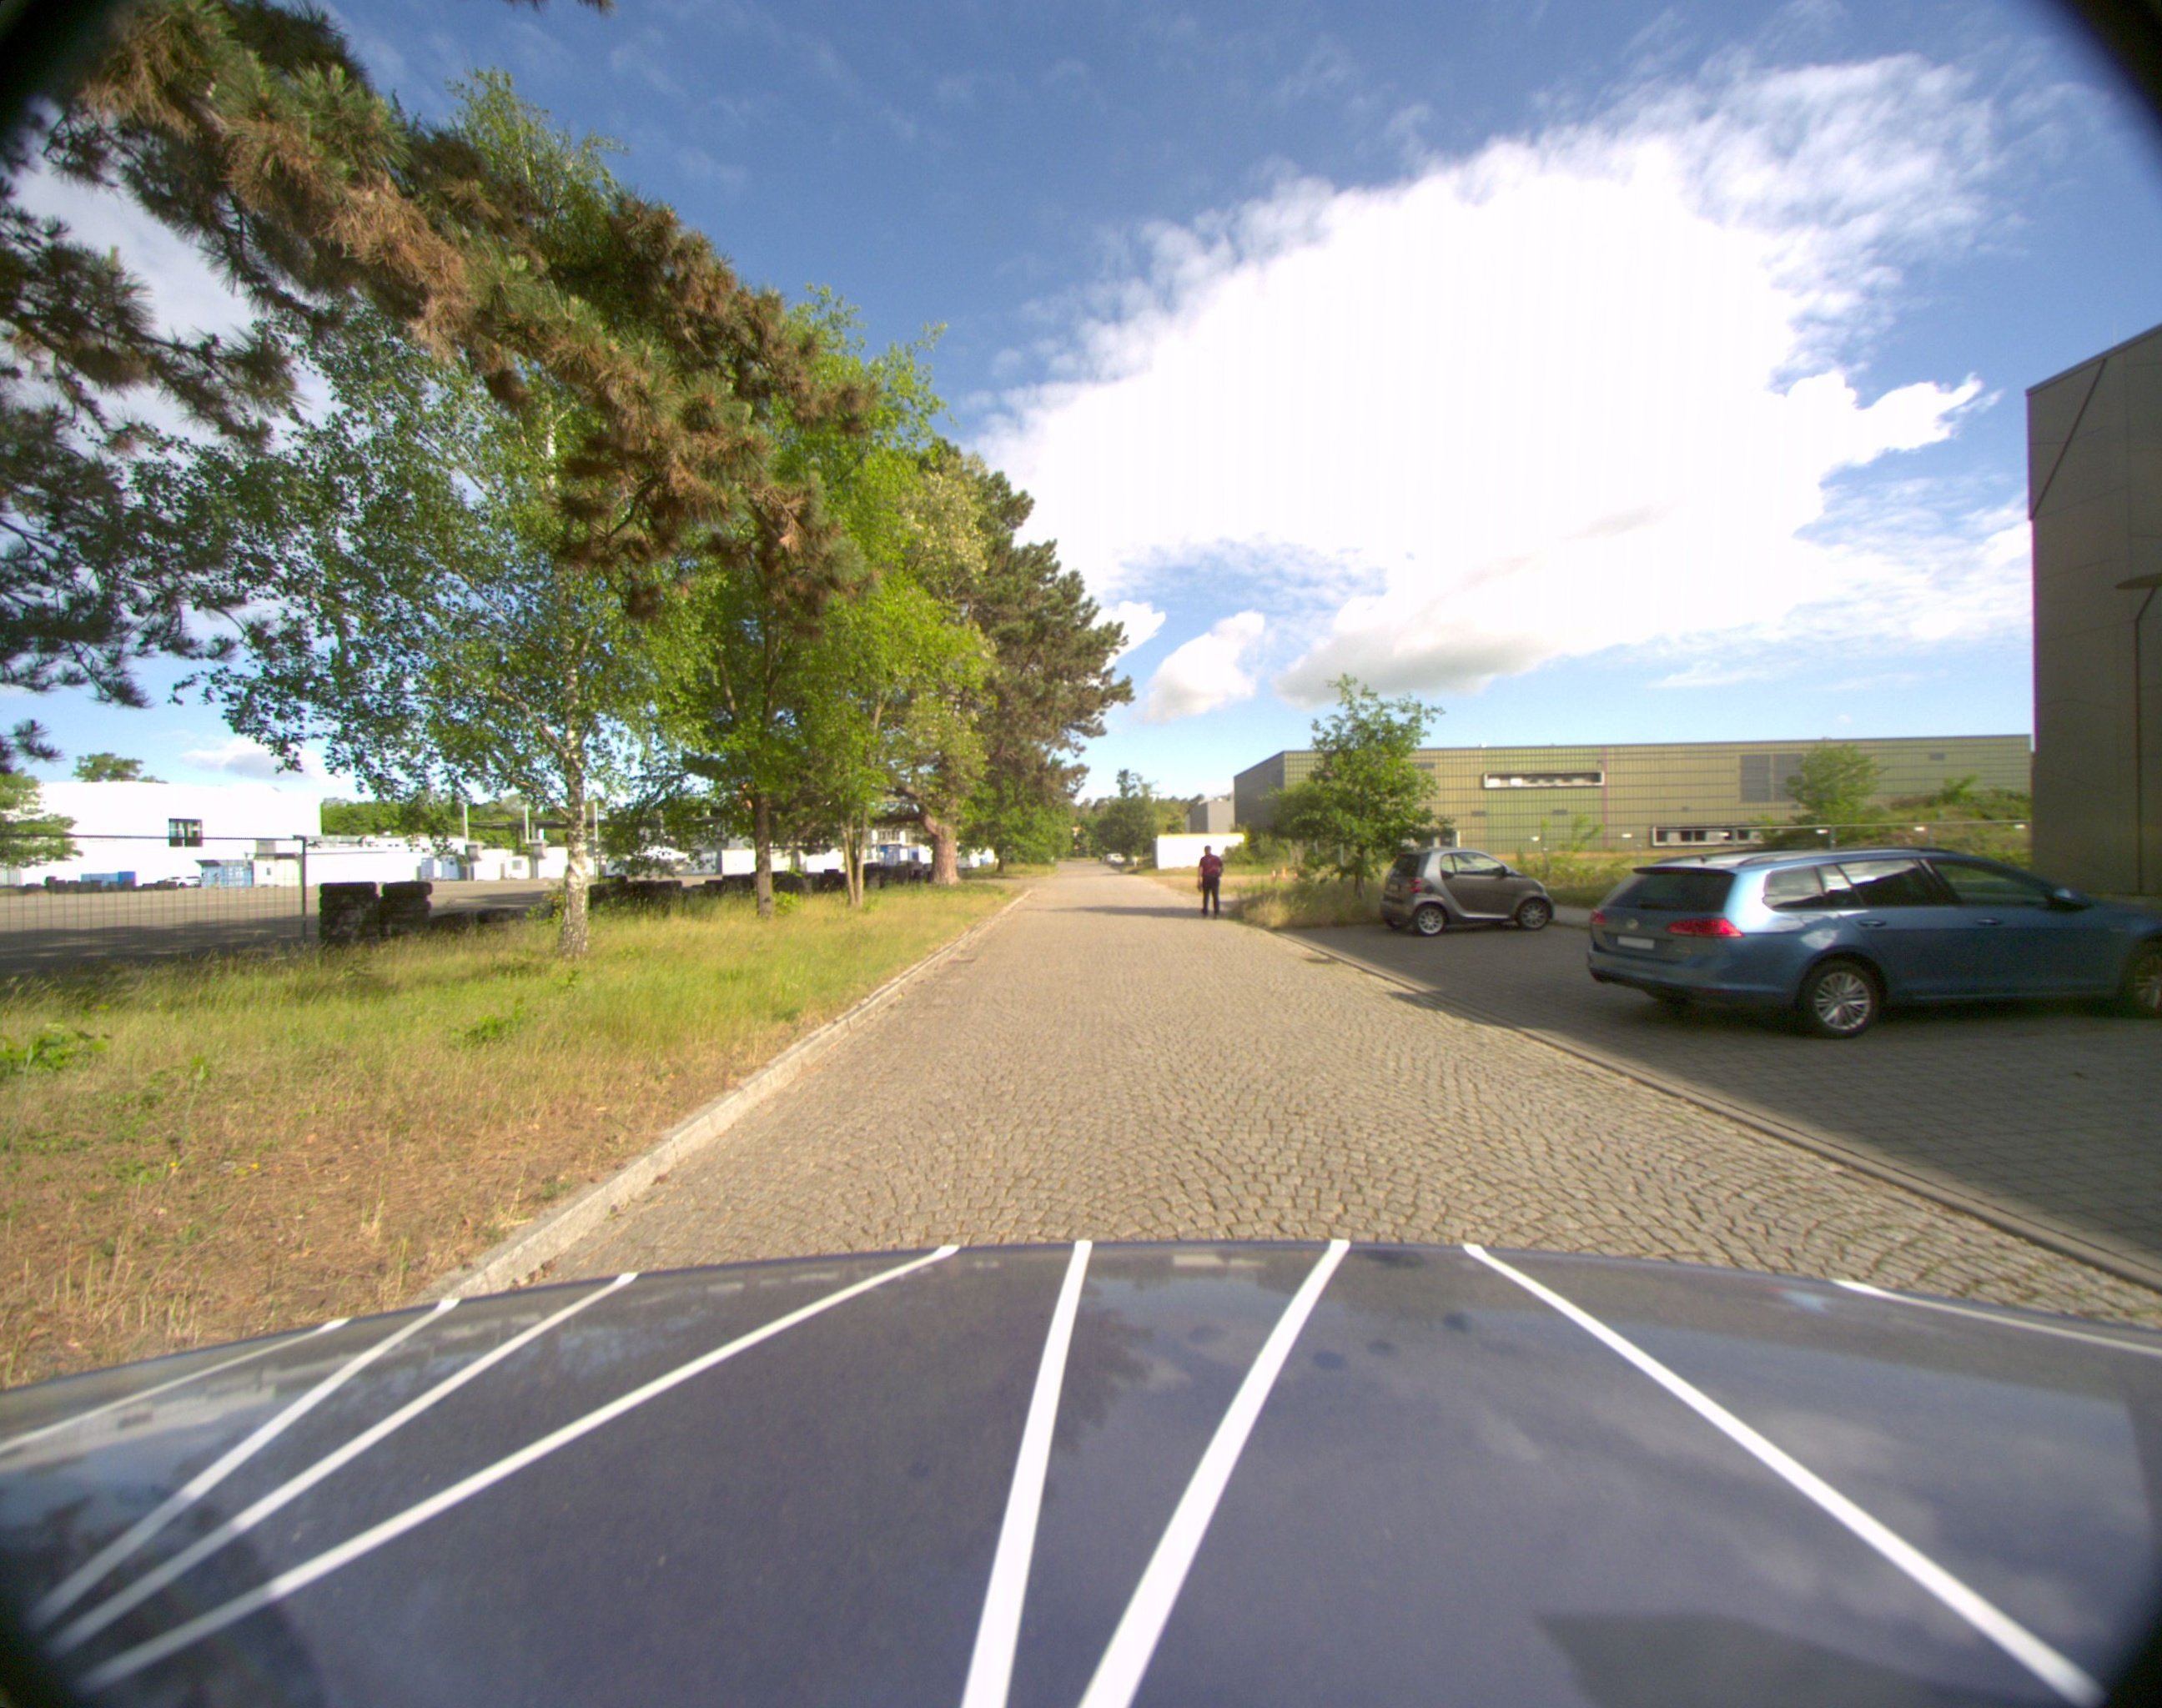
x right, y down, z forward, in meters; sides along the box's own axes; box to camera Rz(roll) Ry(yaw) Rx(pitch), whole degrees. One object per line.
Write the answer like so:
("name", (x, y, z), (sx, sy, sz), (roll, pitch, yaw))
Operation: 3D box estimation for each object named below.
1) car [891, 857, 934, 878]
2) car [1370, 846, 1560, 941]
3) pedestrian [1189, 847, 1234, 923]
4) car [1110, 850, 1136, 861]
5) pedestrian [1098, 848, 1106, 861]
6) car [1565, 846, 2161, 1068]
("car", (-12.296, 0.949, 55.661), (1.846, 1.440, 4.001), (-1, 0, 6))
("car", (7.036, 0.690, 14.111), (2.706, 1.533, 1.518), (-3, 1, -1))
("pedestrian", (3.168, 0.729, 18.511), (0.806, 1.761, 1.152), (-1, 1, -4))
("car", (6.714, 0.192, 121.387), (3.996, 1.678, 2.000), (-1, 1, 3))
("pedestrian", (2.960, 0.051, 107.504), (0.908, 1.797, 0.983), (-1, 1, -7))
("car", (6.917, 0.774, 6.659), (4.268, 1.455, 1.680), (-3, 0, -2))
